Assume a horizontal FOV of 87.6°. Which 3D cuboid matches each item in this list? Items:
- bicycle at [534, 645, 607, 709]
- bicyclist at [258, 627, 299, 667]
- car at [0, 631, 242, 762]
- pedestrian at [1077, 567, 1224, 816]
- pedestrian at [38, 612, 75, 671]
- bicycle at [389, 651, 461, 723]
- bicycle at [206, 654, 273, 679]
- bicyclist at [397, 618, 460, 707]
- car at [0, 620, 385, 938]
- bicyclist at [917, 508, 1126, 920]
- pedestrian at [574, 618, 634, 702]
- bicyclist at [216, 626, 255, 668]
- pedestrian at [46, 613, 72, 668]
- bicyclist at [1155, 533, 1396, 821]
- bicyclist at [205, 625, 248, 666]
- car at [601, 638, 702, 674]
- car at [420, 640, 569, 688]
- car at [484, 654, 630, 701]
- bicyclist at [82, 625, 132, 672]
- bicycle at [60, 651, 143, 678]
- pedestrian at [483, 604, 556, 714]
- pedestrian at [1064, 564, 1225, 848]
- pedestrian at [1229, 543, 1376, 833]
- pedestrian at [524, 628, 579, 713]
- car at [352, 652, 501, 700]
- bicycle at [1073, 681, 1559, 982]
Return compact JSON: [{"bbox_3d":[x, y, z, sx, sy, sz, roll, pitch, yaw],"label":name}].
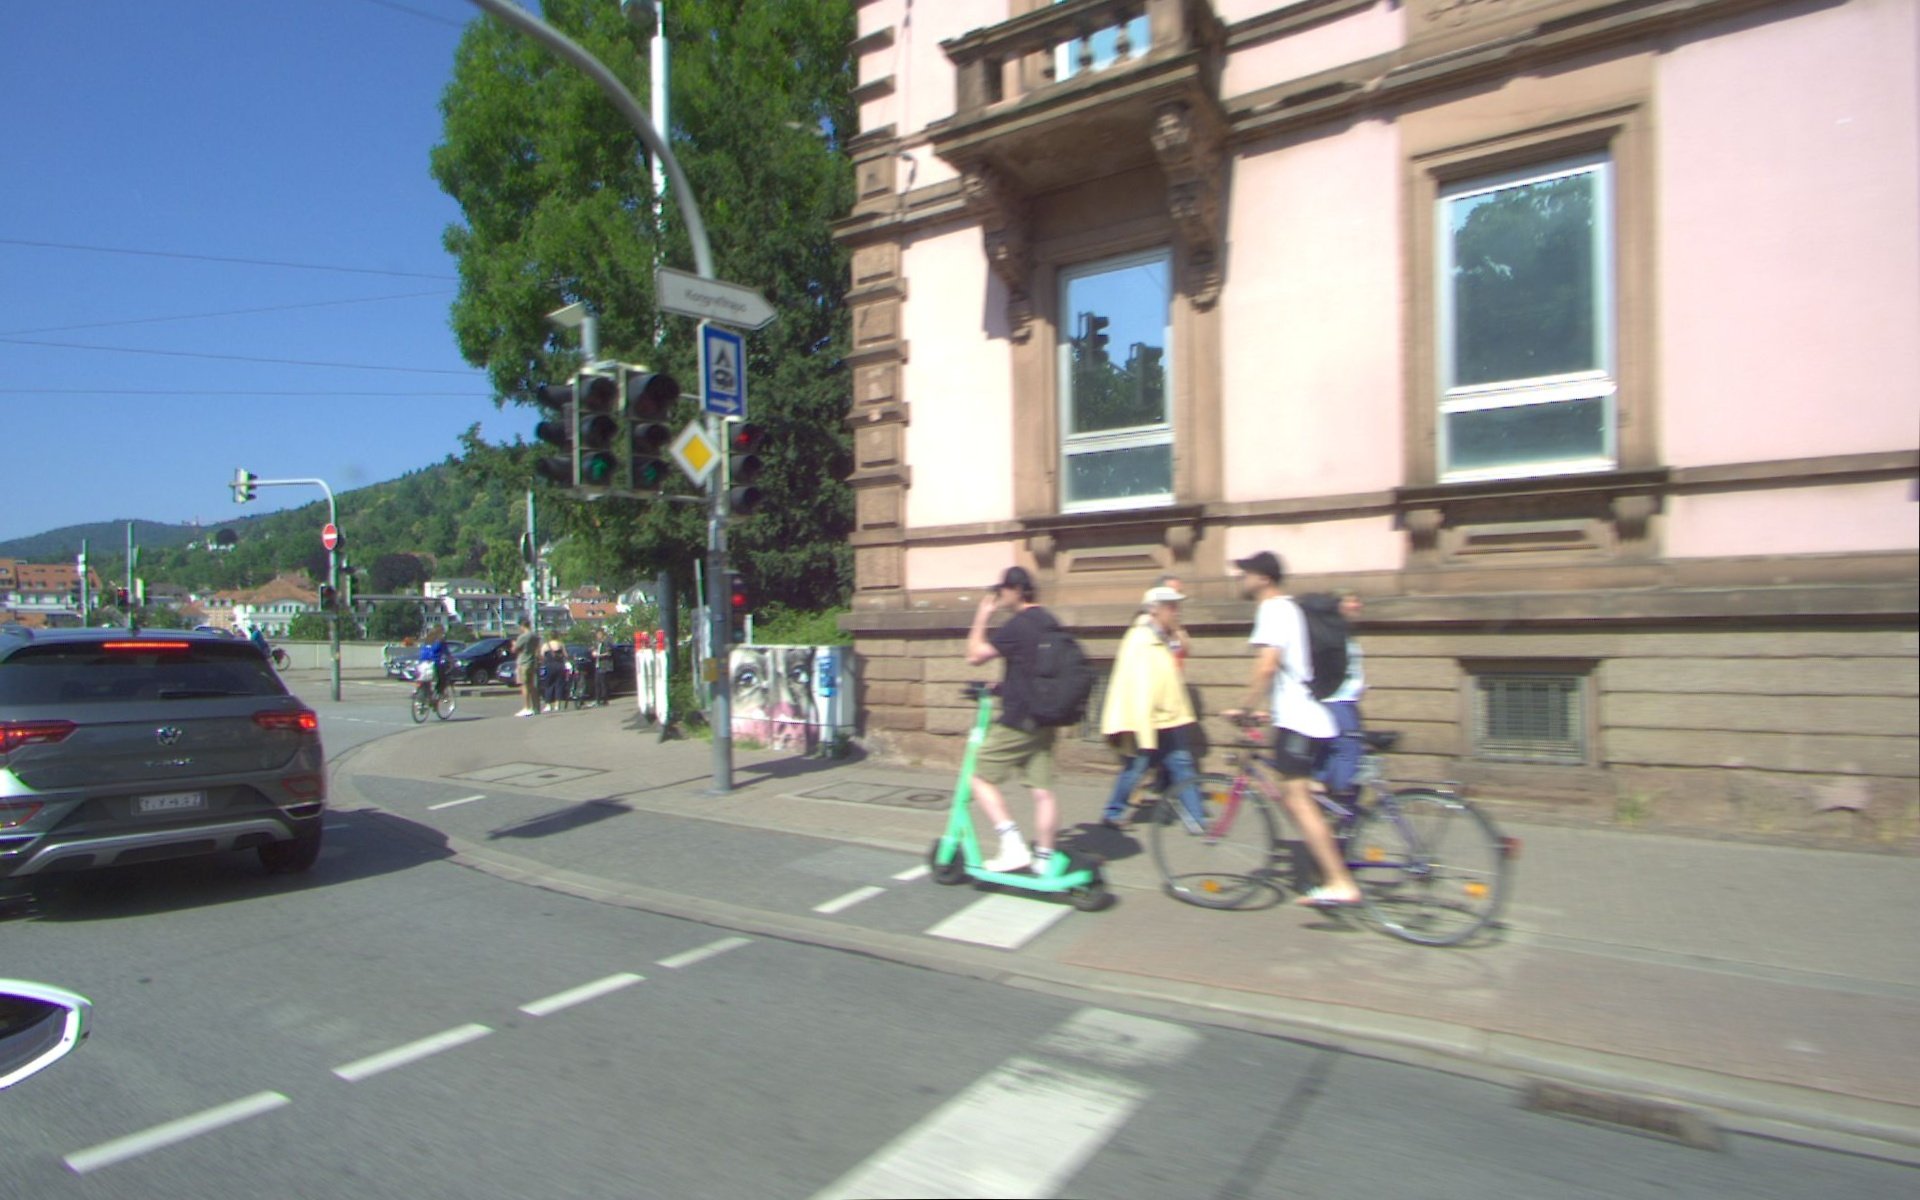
[{"bbox_3d":[-8.260,1.647,21.160,0.793,1.220,2.260,-3,-3,-37],"label":"bicycle"},{"bbox_3d":[-25.629,1.766,37.665,0.918,1.492,1.074,-1,-2,44],"label":"bicyclist"},{"bbox_3d":[-11.848,1.211,13.876,4.231,1.509,1.987,-1,-2,38],"label":"car"},{"bbox_3d":[1.463,0.670,7.671,0.889,1.775,0.704,-2,-1,29],"label":"pedestrian"},{"bbox_3d":[-29.440,1.354,32.631,0.636,1.879,0.771,0,-1,39],"label":"pedestrian"},{"bbox_3d":[-9.680,1.543,18.212,0.606,1.179,2.247,0,-2,-14],"label":"bicycle"},{"bbox_3d":[-26.132,2.421,36.355,1.918,0.864,0.562,2,-2,-31],"label":"bicycle"},{"bbox_3d":[-9.705,1.118,18.322,0.763,1.574,1.059,0,-1,-13],"label":"bicyclist"},{"bbox_3d":[-5.638,0.924,6.702,3.947,1.535,1.921,-2,-2,41],"label":"car"},{"bbox_3d":[0.363,0.574,5.573,0.817,2.040,0.940,-1,0,30],"label":"bicyclist"},{"bbox_3d":[-7.964,1.337,22.430,0.690,1.802,1.057,-5,-3,22],"label":"pedestrian"},{"bbox_3d":[-26.234,1.718,36.277,1.069,1.492,0.758,2,-2,-32],"label":"bicyclist"},{"bbox_3d":[-29.695,1.339,33.017,0.570,1.783,0.532,0,-1,39],"label":"pedestrian"},{"bbox_3d":[1.575,0.342,4.931,0.957,1.235,0.919,-1,0,30],"label":"bicyclist"},{"bbox_3d":[-26.995,1.665,36.865,0.917,1.492,1.075,-1,-2,42],"label":"bicyclist"},{"bbox_3d":[-13.575,2.453,44.367,1.816,1.466,4.476,0,-2,23],"label":"car"},{"bbox_3d":[-15.812,2.148,34.272,1.817,1.525,4.474,0,-2,25],"label":"car"},{"bbox_3d":[-13.069,2.476,32.774,1.852,1.375,4.304,0,-2,26],"label":"car"},{"bbox_3d":[-27.459,1.564,32.228,0.791,1.492,1.075,0,-2,40],"label":"bicyclist"},{"bbox_3d":[-27.531,2.064,32.133,0.558,0.837,1.931,-1,-3,40],"label":"bicycle"},{"bbox_3d":[-8.418,1.122,19.142,1.044,2.039,0.773,-3,-1,31],"label":"pedestrian"},{"bbox_3d":[1.267,0.678,6.842,0.889,1.792,0.704,-1,1,29],"label":"pedestrian"},{"bbox_3d":[2.438,0.587,7.107,0.889,1.916,0.634,0,0,29],"label":"pedestrian"},{"bbox_3d":[-8.598,1.455,21.070,0.880,1.732,0.672,-1,0,32],"label":"pedestrian"},{"bbox_3d":[-18.824,2.642,35.539,1.817,1.413,4.472,-1,-1,25],"label":"car"},{"bbox_3d":[1.679,1.002,4.895,2.106,1.117,0.777,-1,0,29],"label":"bicycle"}]
